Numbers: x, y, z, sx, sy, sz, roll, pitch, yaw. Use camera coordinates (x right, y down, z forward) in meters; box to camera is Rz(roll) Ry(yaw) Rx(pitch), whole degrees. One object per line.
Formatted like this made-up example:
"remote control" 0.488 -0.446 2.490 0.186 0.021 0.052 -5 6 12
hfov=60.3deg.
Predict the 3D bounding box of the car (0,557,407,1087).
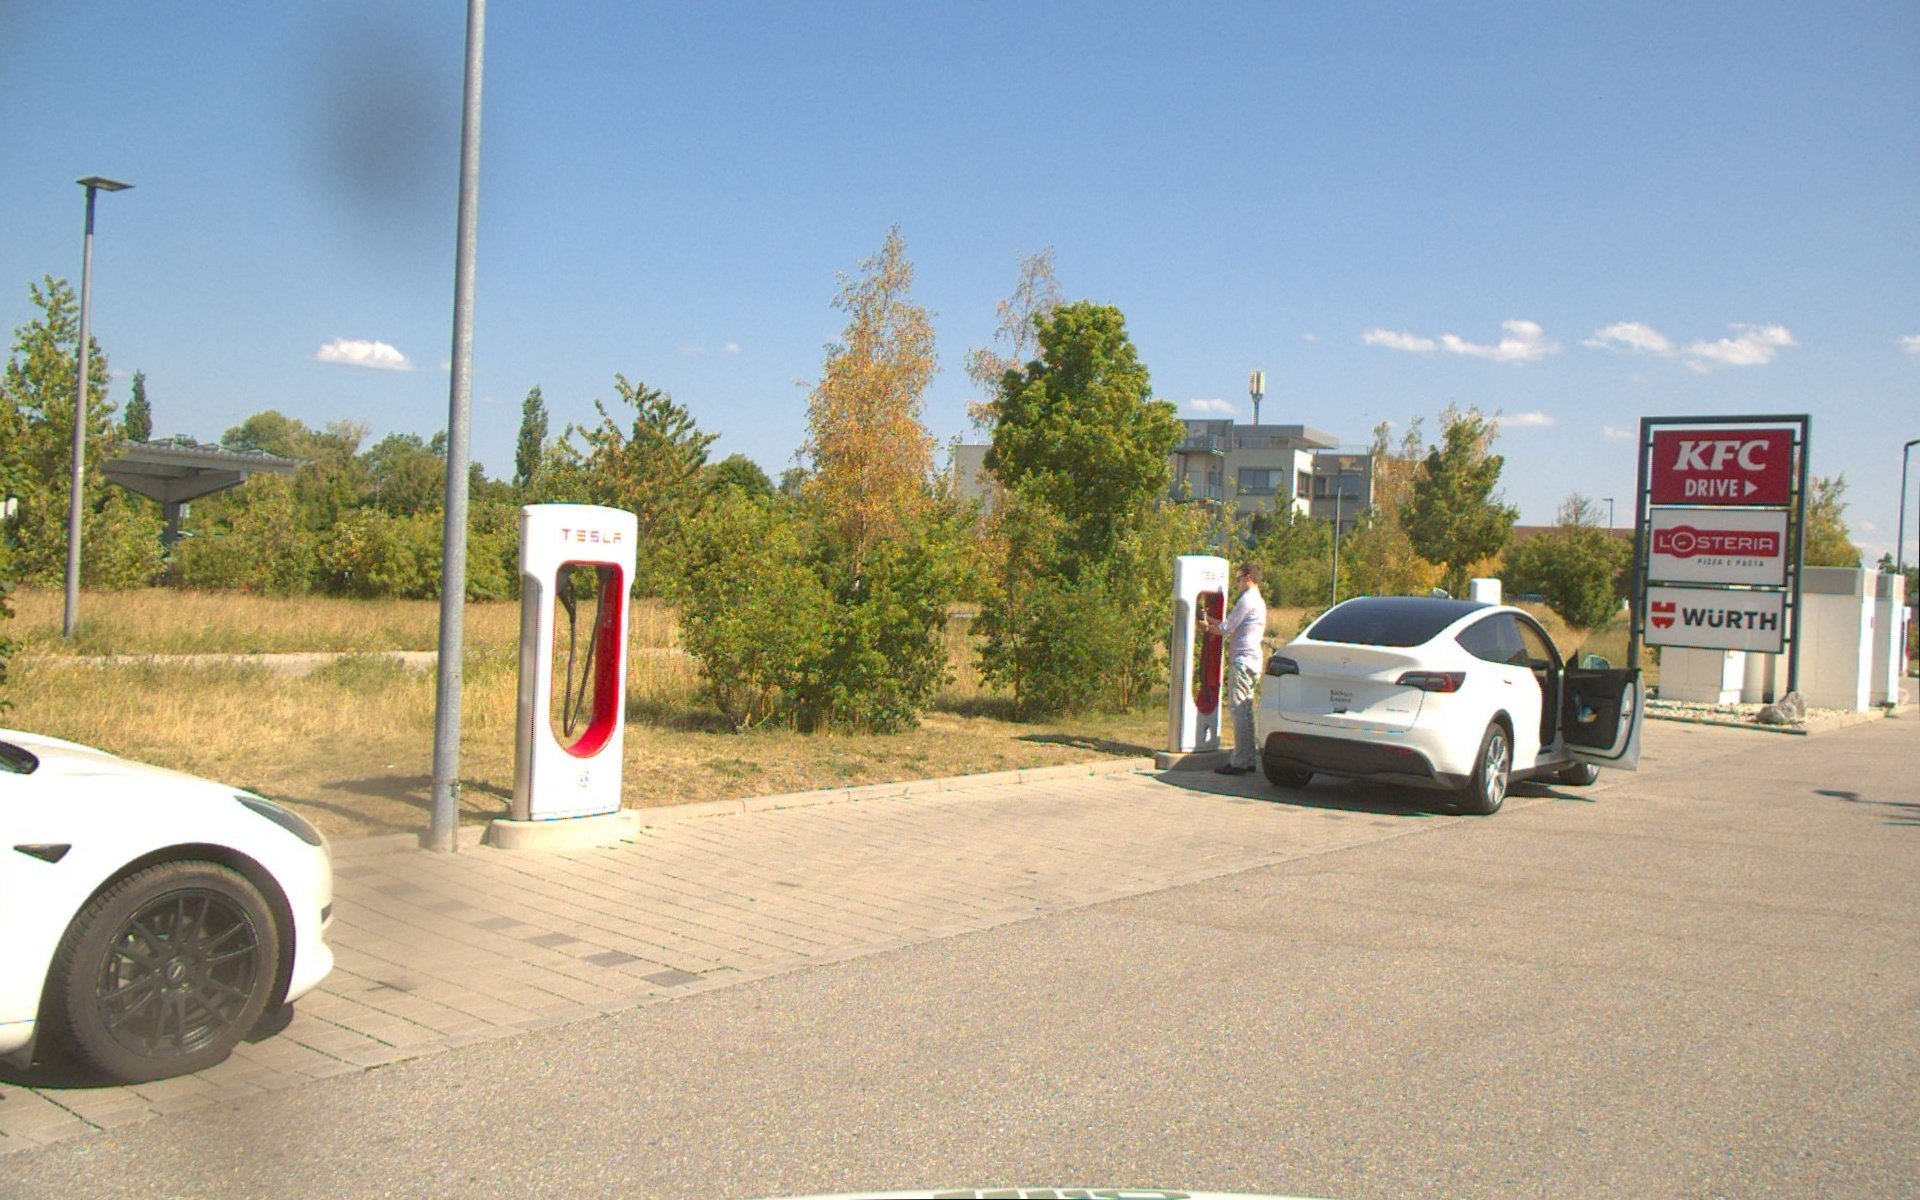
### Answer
"car" -3.913 0.559 4.258 1.789 1.401 4.424 3 1 40

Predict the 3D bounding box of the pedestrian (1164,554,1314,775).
"pedestrian" 2.459 0.543 14.574 1.015 1.831 0.734 3 1 37

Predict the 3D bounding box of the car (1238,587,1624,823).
"car" 4.233 0.778 14.339 1.832 1.628 4.474 3 1 35
